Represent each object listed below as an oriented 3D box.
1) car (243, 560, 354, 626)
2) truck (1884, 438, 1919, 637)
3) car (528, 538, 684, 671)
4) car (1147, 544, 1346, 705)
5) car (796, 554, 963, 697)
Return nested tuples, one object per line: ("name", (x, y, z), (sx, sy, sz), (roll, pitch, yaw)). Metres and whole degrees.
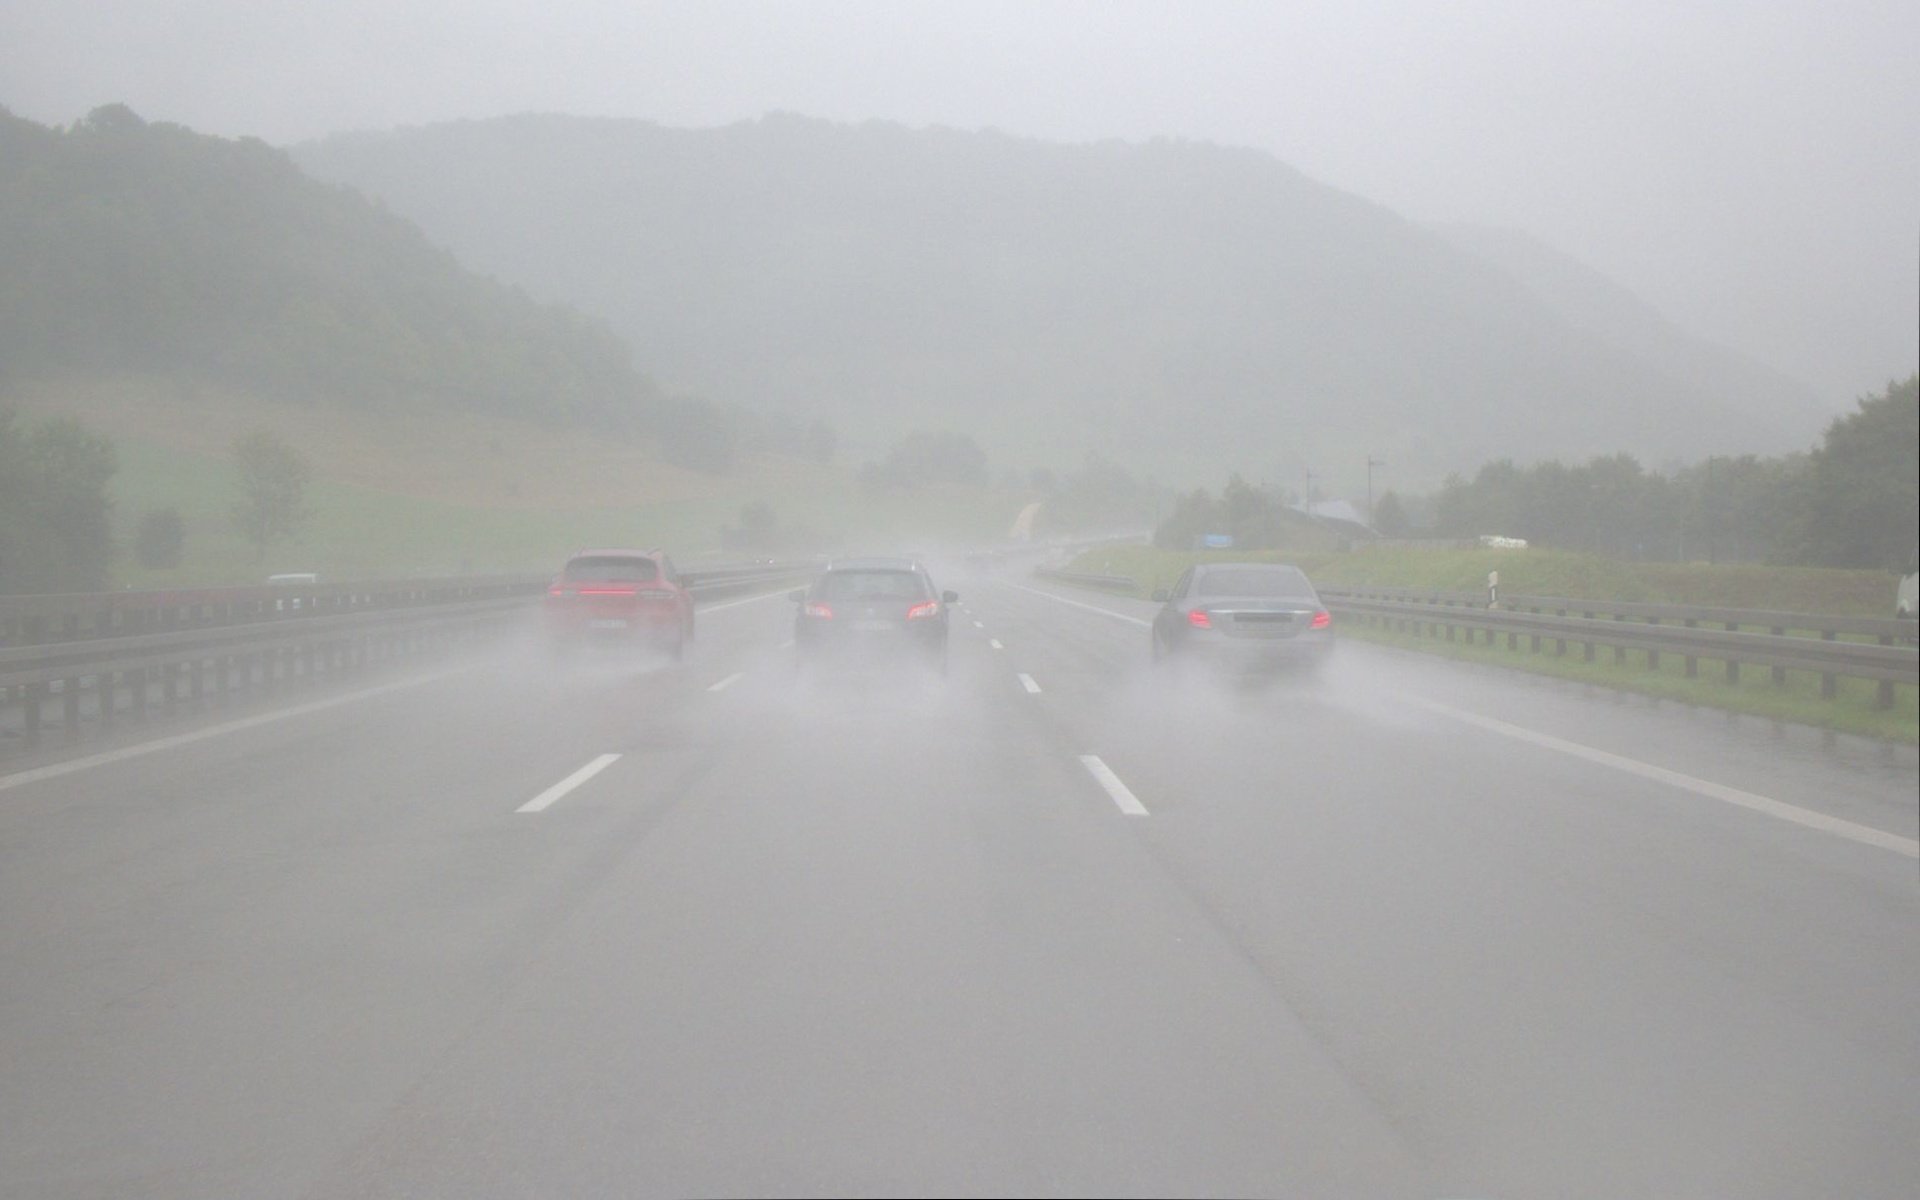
("car", (-17.805, -0.211, 92.797), (1.993, 1.686, 5.305), (-1, 1, -1))
("truck", (16.264, -0.948, 52.119), (2.291, 3.136, 8.863), (1, 1, 2))
("car", (-5.022, 0.026, 49.192), (1.884, 1.809, 4.000), (0, 1, -1))
("car", (3.277, 0.235, 40.031), (1.971, 1.754, 4.000), (-1, 1, 0))
("car", (-0.910, 0.268, 40.826), (1.859, 1.584, 4.000), (1, 1, 0))
